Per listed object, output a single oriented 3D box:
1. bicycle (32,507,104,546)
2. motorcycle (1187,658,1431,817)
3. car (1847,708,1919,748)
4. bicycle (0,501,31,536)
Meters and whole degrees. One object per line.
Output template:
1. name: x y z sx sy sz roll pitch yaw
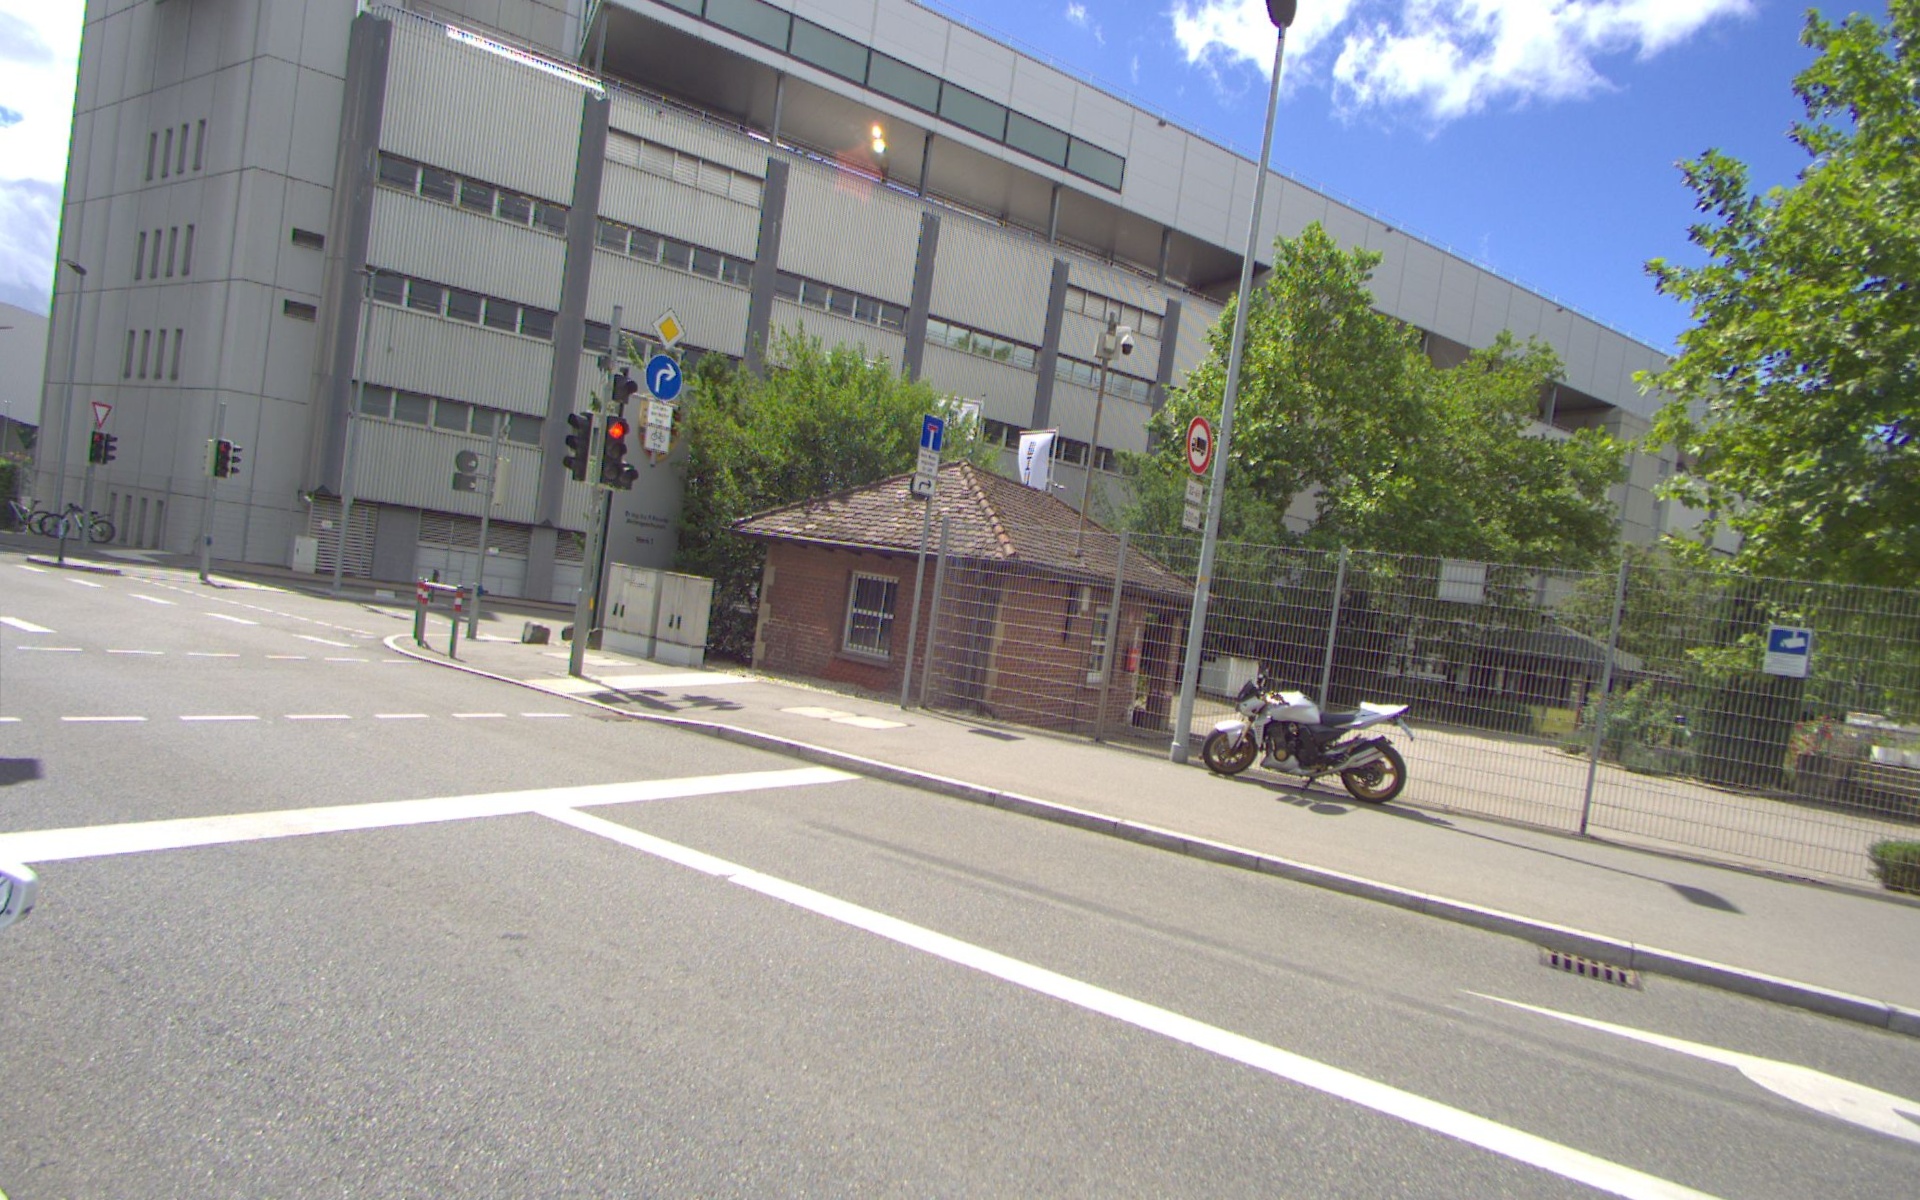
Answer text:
1. bicycle: -27.261 -2.243 30.758 1.892 0.948 0.399 7 0 6
2. motorcycle: 3.442 1.304 9.990 2.110 1.173 0.693 7 2 27
3. car: 53.038 7.288 56.790 1.979 1.803 3.971 8 -2 -30
4. bicycle: -29.685 -2.579 31.074 1.891 0.948 0.399 7 0 13
